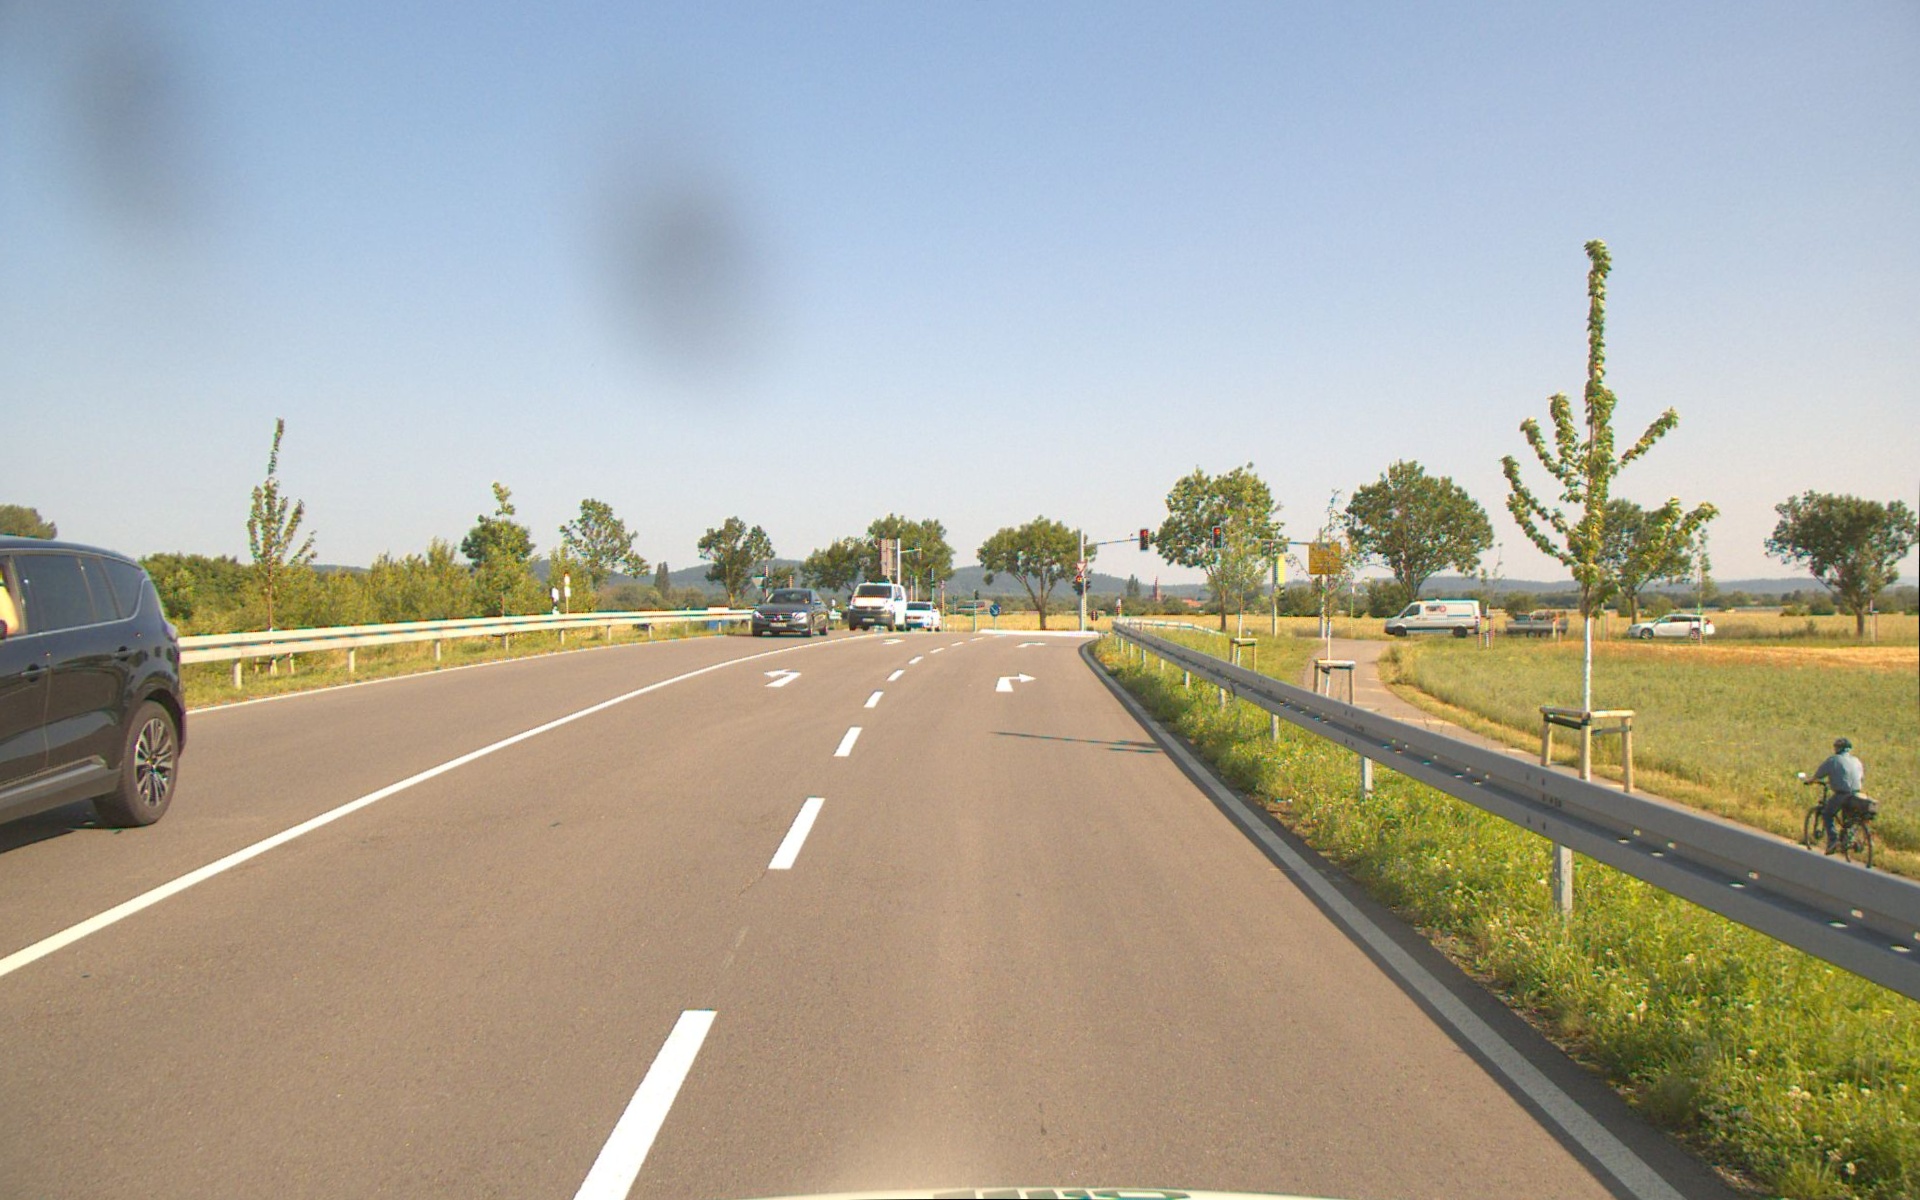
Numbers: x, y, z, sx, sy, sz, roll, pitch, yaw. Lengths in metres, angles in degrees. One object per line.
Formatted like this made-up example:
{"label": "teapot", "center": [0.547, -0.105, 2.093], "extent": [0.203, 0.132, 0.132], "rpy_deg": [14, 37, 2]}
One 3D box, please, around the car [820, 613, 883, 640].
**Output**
{"label": "car", "center": [-7.397, 1.829, 112.829], "extent": [3.872, 1.697, 1.764], "rpy_deg": [1, -1, 17]}

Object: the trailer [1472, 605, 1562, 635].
{"label": "trailer", "center": [34.076, 1.219, 101.223], "extent": [5.150, 1.784, 1.954], "rpy_deg": [0, -1, 19]}

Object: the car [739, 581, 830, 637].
{"label": "car", "center": [-5.359, 0.227, 51.101], "extent": [1.756, 1.473, 4.710], "rpy_deg": [2, 2, 7]}

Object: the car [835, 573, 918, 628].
{"label": "car", "center": [-3.428, -0.031, 68.730], "extent": [2.070, 2.048, 5.159], "rpy_deg": [2, 2, 13]}

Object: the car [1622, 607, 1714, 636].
{"label": "car", "center": [42.298, 1.281, 98.894], "extent": [4.765, 1.536, 2.001], "rpy_deg": [1, -1, 16]}

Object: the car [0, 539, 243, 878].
{"label": "car", "center": [-5.578, 0.493, 8.376], "extent": [1.954, 1.620, 4.860], "rpy_deg": [2, 0, -3]}

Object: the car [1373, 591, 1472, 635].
{"label": "car", "center": [28.815, 0.790, 103.006], "extent": [5.833, 2.536, 2.000], "rpy_deg": [1, -1, 19]}

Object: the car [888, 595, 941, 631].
{"label": "car", "center": [-2.279, 0.636, 83.881], "extent": [2.070, 1.519, 5.157], "rpy_deg": [2, 2, 5]}
